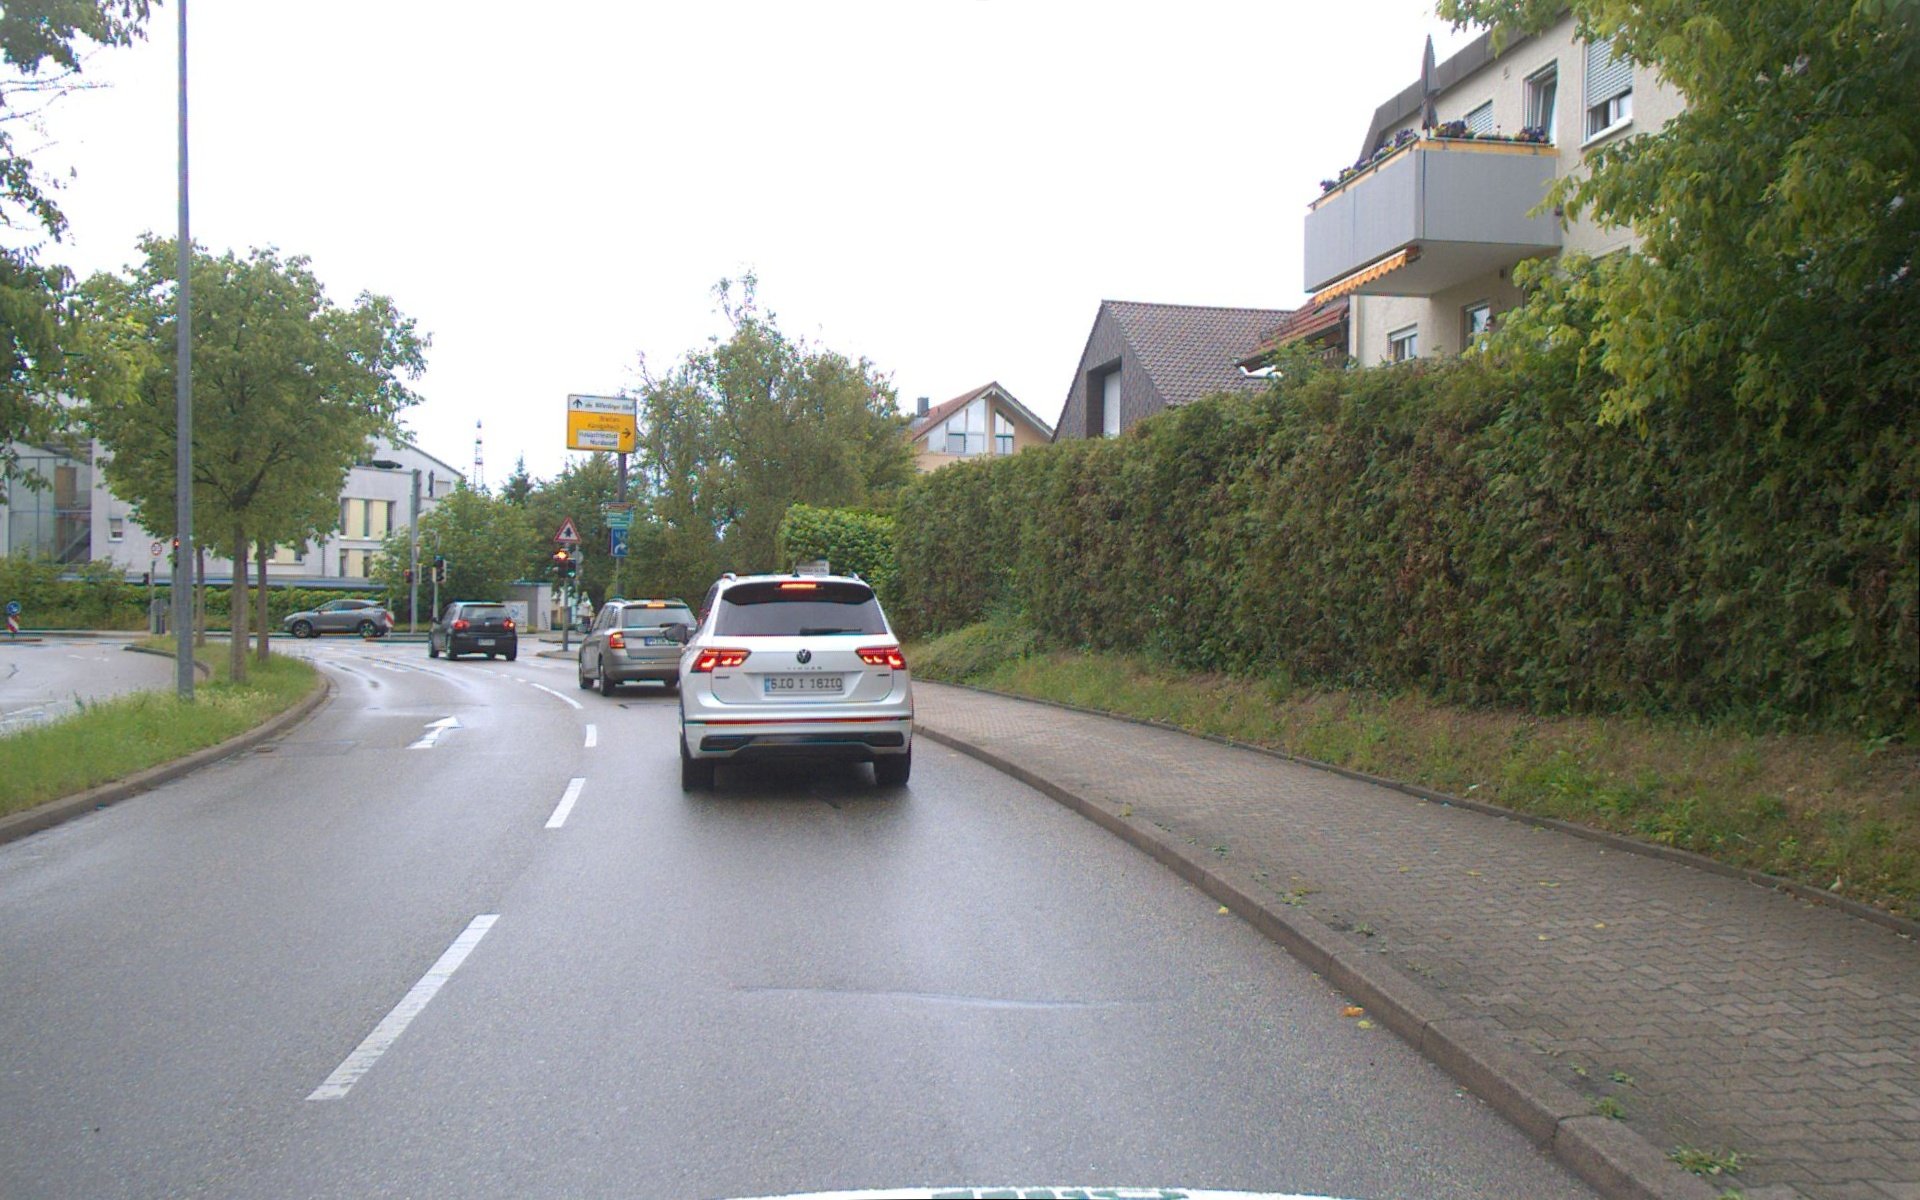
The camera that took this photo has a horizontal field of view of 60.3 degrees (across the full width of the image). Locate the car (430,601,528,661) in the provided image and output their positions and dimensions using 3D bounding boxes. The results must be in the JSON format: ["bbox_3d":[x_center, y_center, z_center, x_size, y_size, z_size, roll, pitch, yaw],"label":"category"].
[{"bbox_3d":[-12.650,0.774,43.348,1.828,1.454,3.967,-1,0,-26],"label":"car"}]

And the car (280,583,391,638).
[{"bbox_3d":[-26.330,0.438,69.838,3.911,2.048,1.979,3,1,-6],"label":"car"}]

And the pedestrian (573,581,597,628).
[{"bbox_3d":[-17.144,0.189,75.602,0.792,2.048,0.840,-4,4,-33],"label":"pedestrian"}]

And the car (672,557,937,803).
[{"bbox_3d":[-1.360,0.570,14.058,1.884,1.752,4.258,1,0,-7],"label":"car"}]

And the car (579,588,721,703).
[{"bbox_3d":[-5.105,0.683,26.843,1.738,1.536,3.981,3,2,-18],"label":"car"}]
